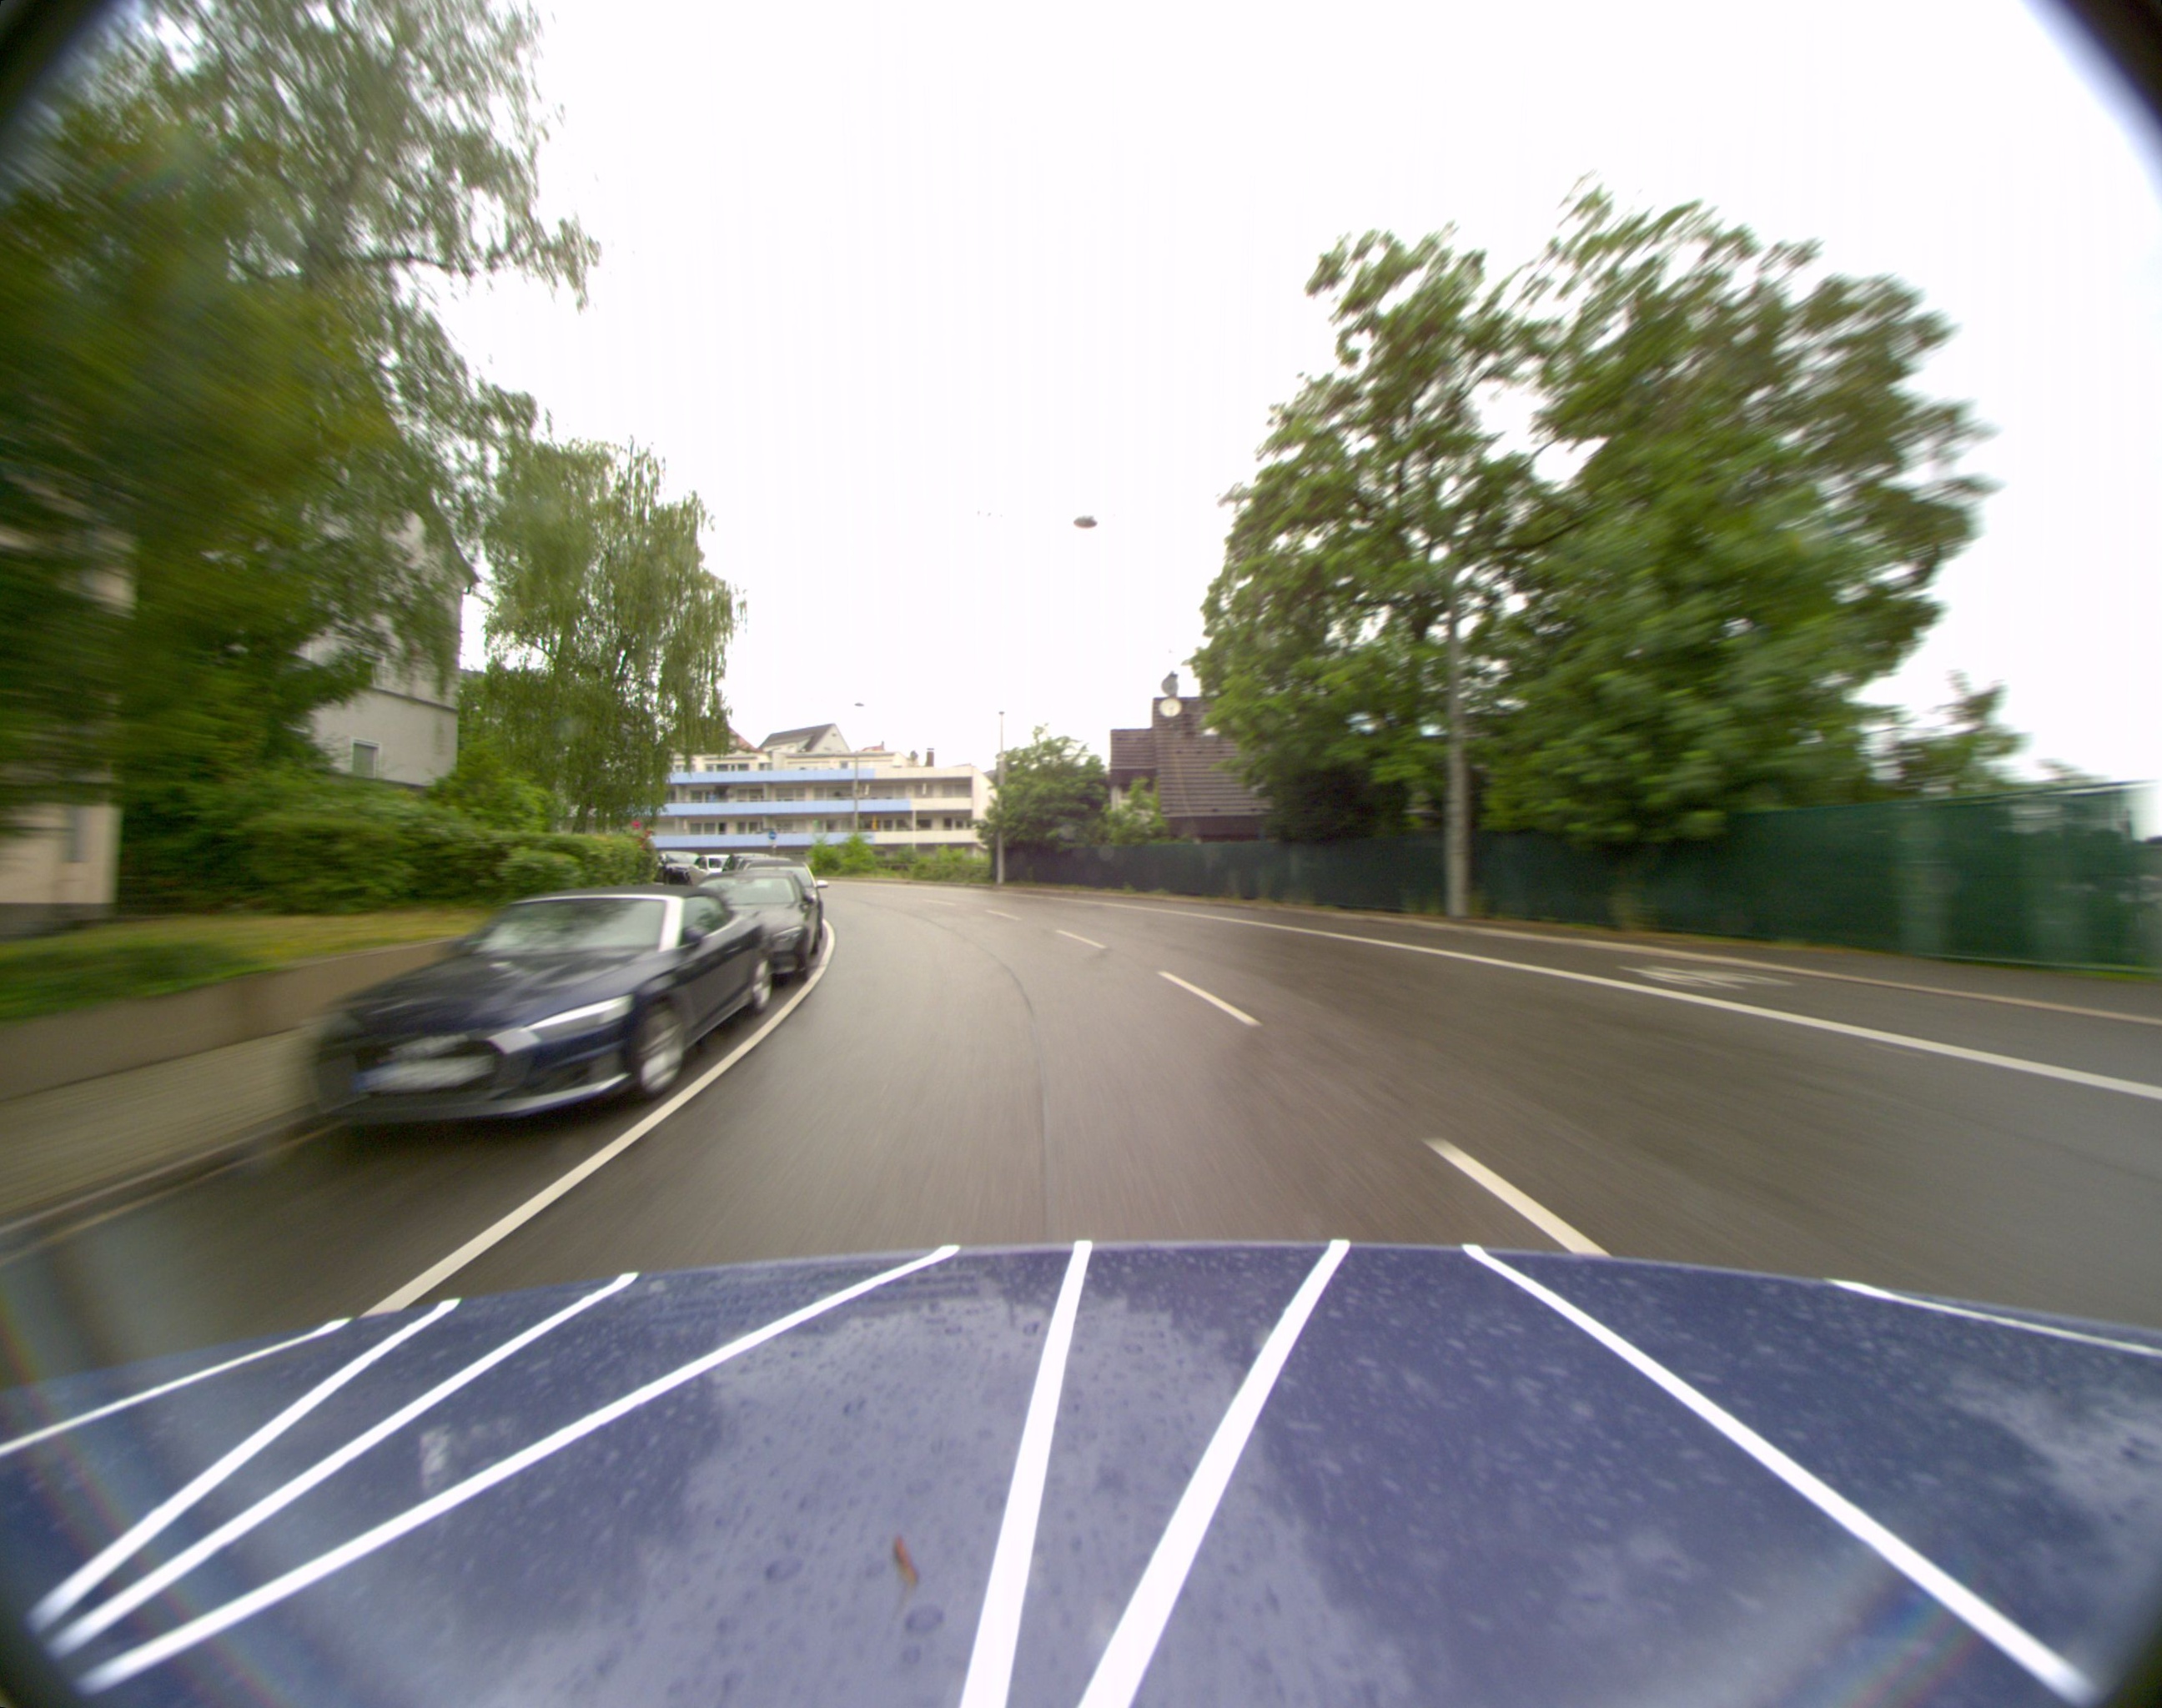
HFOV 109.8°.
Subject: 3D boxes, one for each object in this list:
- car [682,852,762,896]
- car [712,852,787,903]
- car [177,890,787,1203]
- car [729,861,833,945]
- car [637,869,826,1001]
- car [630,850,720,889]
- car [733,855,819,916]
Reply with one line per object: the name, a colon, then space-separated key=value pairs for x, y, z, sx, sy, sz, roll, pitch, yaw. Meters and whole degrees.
car: x=-13.637 y=0.722 z=28.781 sx=1.736 sy=1.455 sz=4.019 roll=4 pitch=-2 yaw=-39
car: x=-10.816 y=0.721 z=24.635 sx=1.628 sy=1.496 sz=3.596 roll=4 pitch=-2 yaw=-32
car: x=-3.911 y=1.093 z=6.188 sx=1.813 sy=1.340 sz=4.616 roll=2 pitch=0 yaw=-8
car: x=-6.123 y=0.917 z=15.553 sx=1.689 sy=1.462 sz=3.732 roll=3 pitch=-2 yaw=-22
car: x=-4.856 y=1.009 z=11.210 sx=1.814 sy=1.427 sz=4.524 roll=2 pitch=0 yaw=-16
car: x=-17.180 y=0.631 z=32.084 sx=4.314 sy=1.510 sz=1.633 roll=1 pitch=0 yaw=37
car: x=-8.268 y=0.793 z=20.421 sx=1.724 sy=1.426 sz=4.060 roll=4 pitch=-2 yaw=-27
